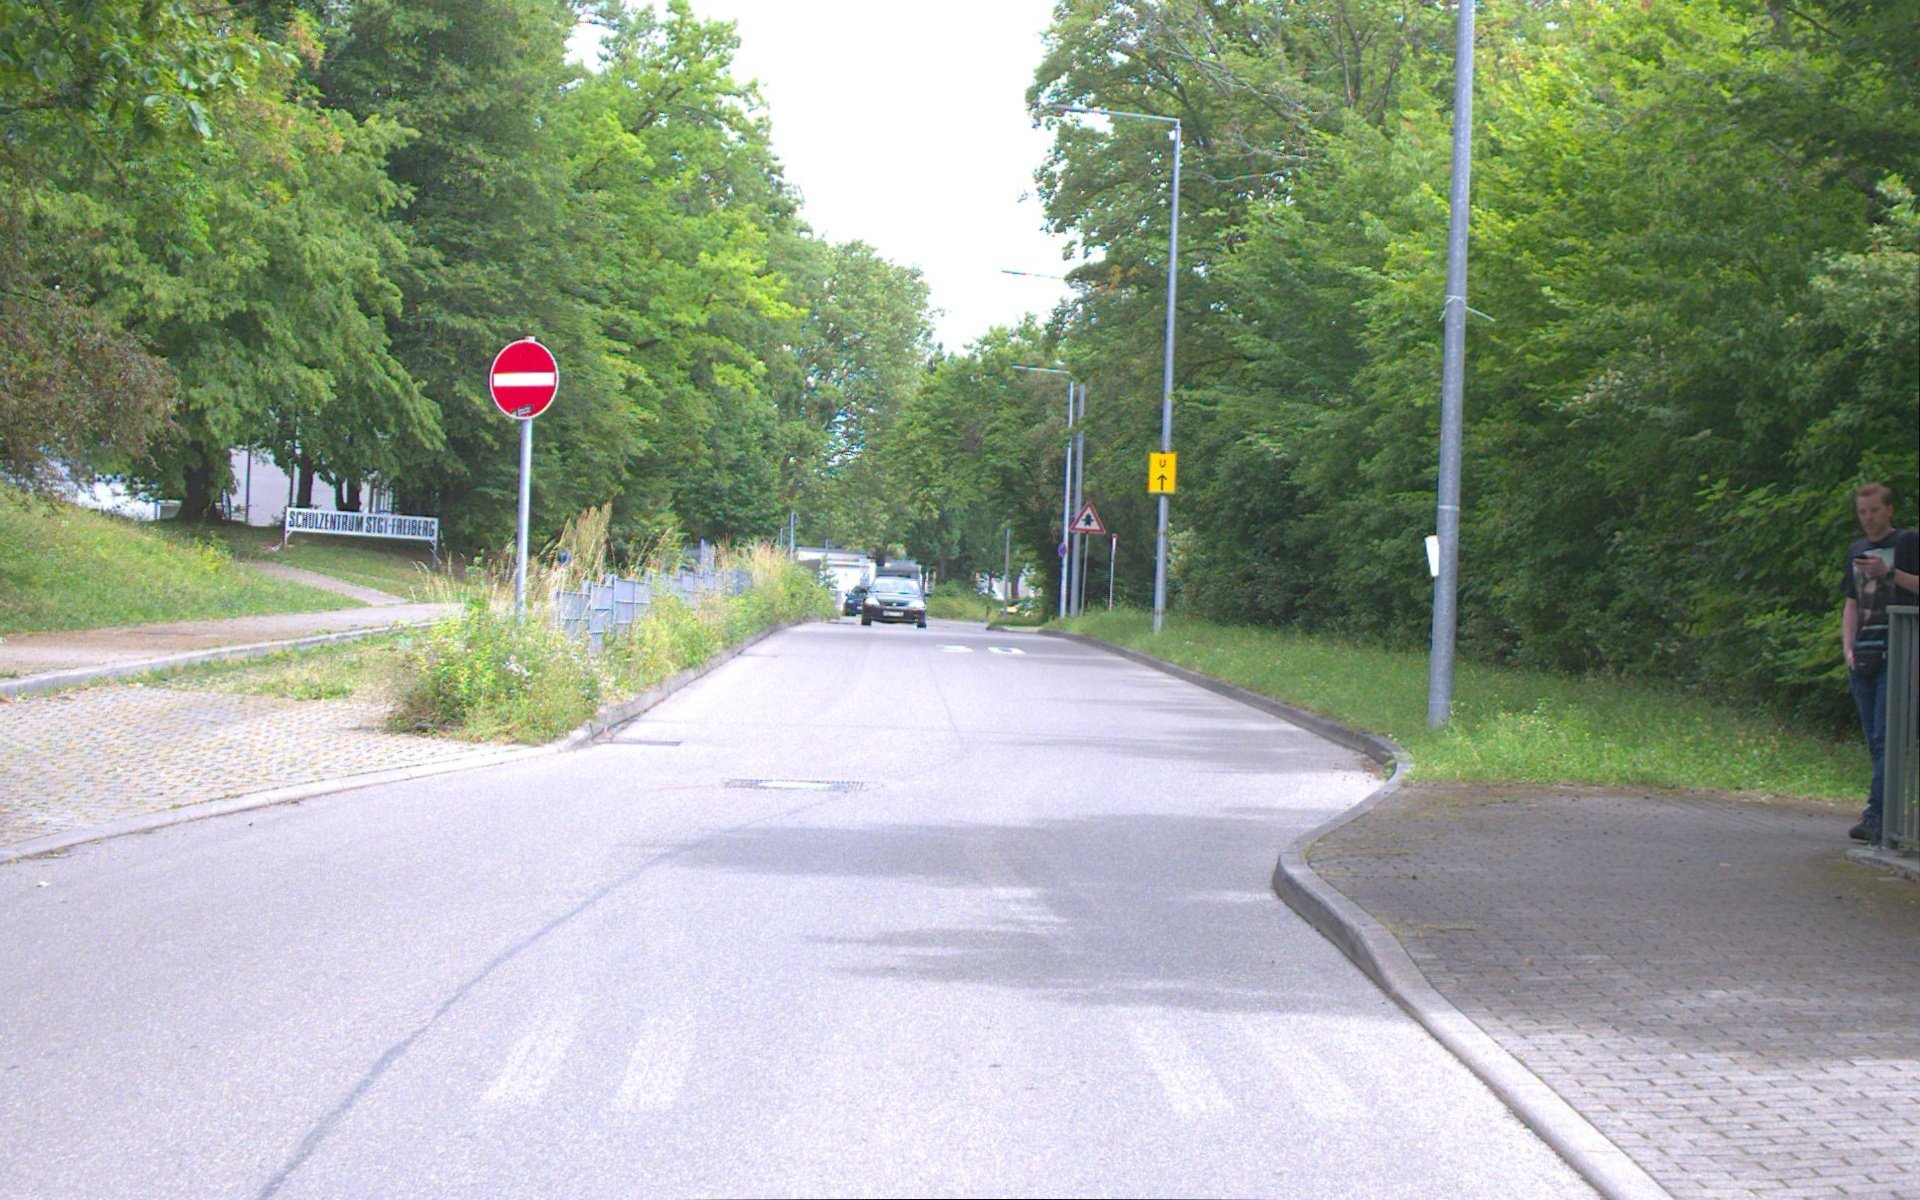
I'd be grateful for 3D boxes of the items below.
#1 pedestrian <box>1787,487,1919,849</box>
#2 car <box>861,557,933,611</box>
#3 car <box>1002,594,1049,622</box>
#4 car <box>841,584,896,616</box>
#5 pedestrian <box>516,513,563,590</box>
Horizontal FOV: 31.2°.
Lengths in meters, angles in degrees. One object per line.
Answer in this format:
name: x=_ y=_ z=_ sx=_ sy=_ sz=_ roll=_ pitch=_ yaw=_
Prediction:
pedestrian: x=4.657 y=0.329 z=17.331 sx=0.587 sy=1.777 sz=0.682 roll=1 pitch=1 yaw=-38
car: x=-1.657 y=-0.432 z=91.725 sx=1.693 sy=1.344 sz=4.094 roll=2 pitch=1 yaw=2
car: x=3.836 y=0.461 z=200.902 sx=1.861 sy=1.487 sz=3.997 roll=0 pitch=-3 yaw=14
car: x=-4.332 y=-0.004 z=163.435 sx=1.979 sy=1.379 sz=3.999 roll=3 pitch=0 yaw=7
pedestrian: x=-11.271 y=-1.289 z=92.182 sx=0.878 sy=2.007 sz=0.865 roll=-2 pitch=-4 yaw=45
